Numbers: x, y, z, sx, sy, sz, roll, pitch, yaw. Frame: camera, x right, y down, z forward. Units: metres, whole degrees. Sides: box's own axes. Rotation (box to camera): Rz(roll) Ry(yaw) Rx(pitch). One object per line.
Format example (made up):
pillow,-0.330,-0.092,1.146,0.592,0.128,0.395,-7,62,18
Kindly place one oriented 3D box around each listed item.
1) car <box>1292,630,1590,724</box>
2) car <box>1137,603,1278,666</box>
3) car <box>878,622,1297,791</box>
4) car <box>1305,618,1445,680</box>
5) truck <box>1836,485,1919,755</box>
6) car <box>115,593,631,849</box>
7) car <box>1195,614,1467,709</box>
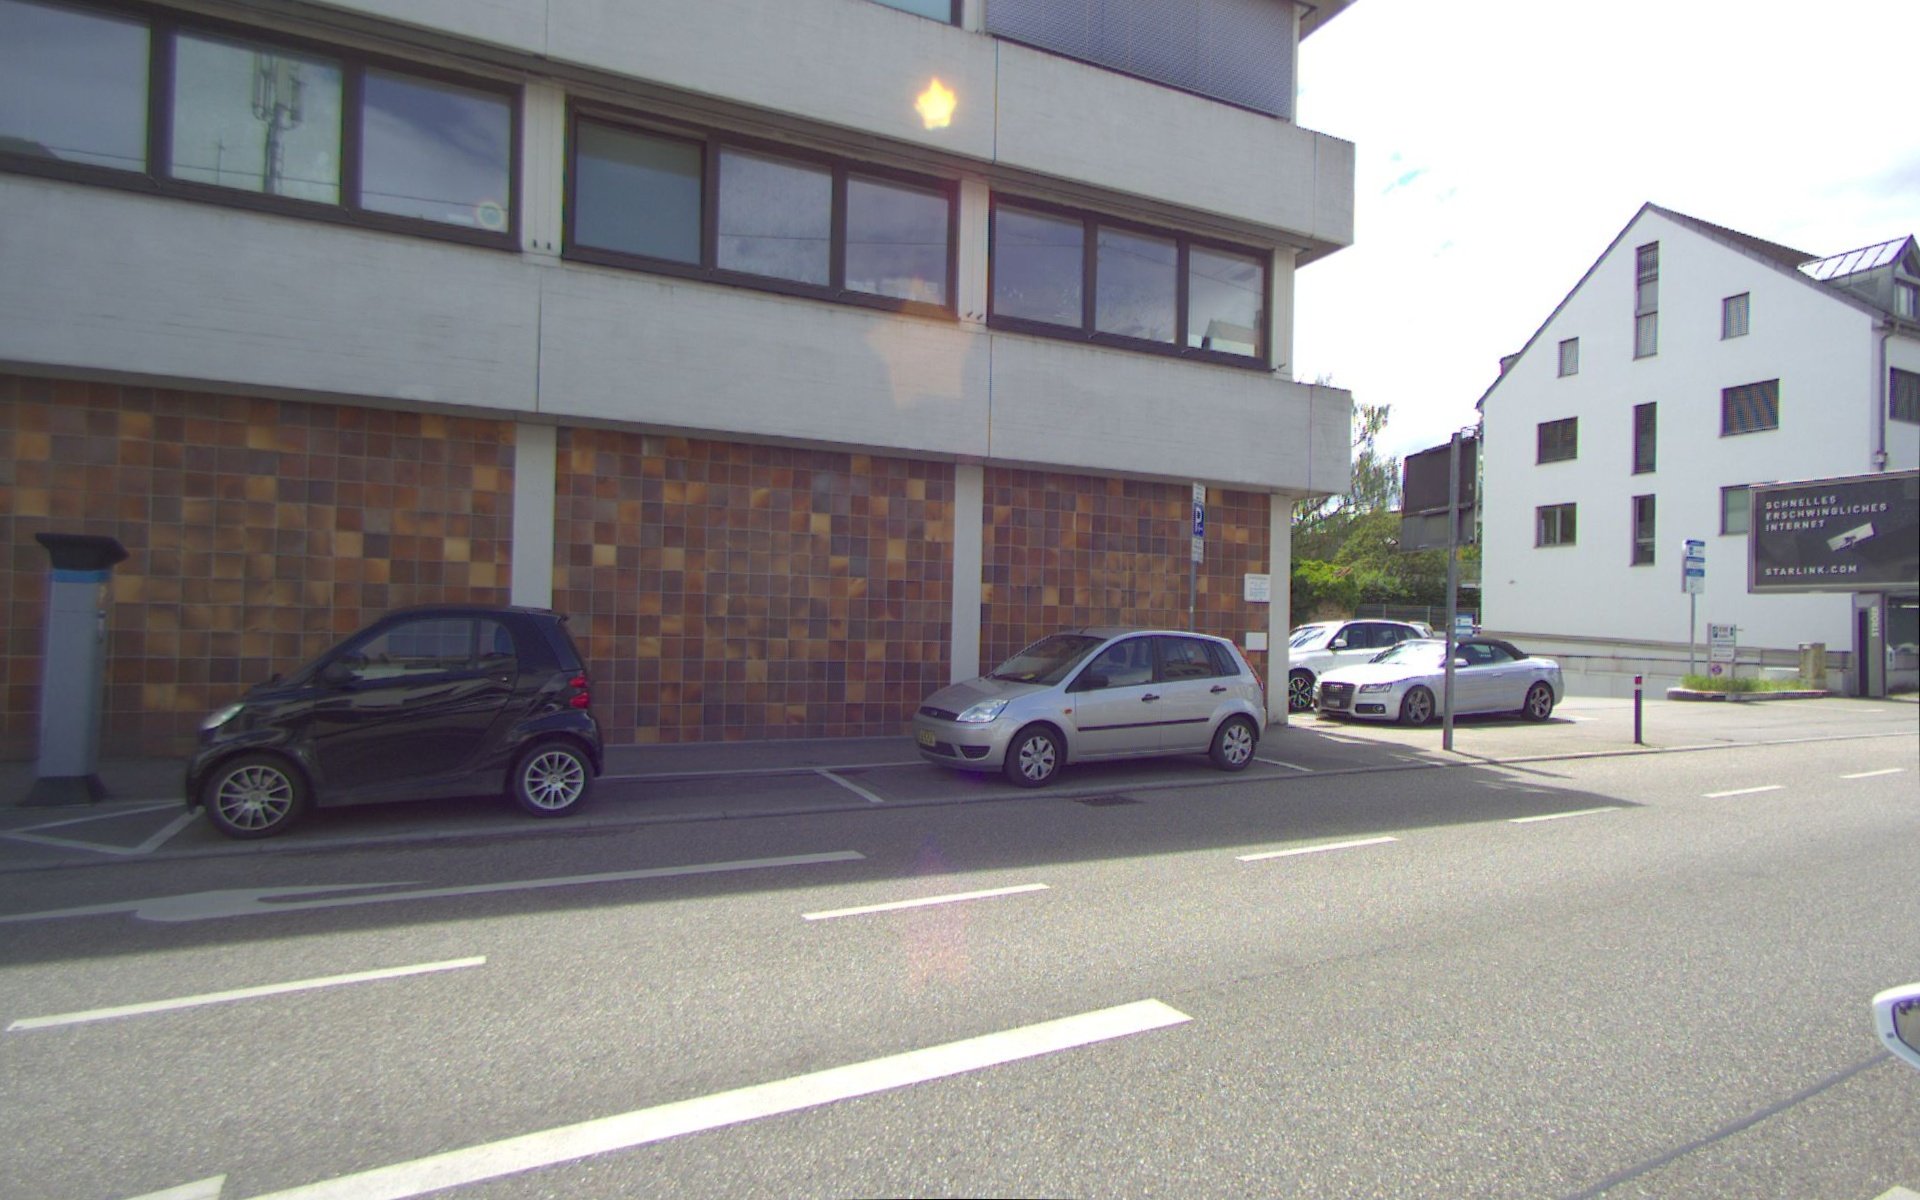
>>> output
car,8.079,1.229,16.824,4.789,1.376,1.945,1,-1,-25
car,10.571,1.501,42.840,5.898,2.563,2.055,2,-3,-26
car,1.363,1.000,10.512,4.094,1.441,1.716,1,0,-27
car,14.174,1.645,34.294,4.586,2.016,1.832,1,-1,-26
truck,14.942,0.322,13.047,7.990,3.133,2.841,2,-2,-29
car,-4.189,0.775,7.622,3.015,1.576,1.731,1,0,-26
car,7.127,1.159,19.283,4.858,1.640,1.948,1,-4,-23
